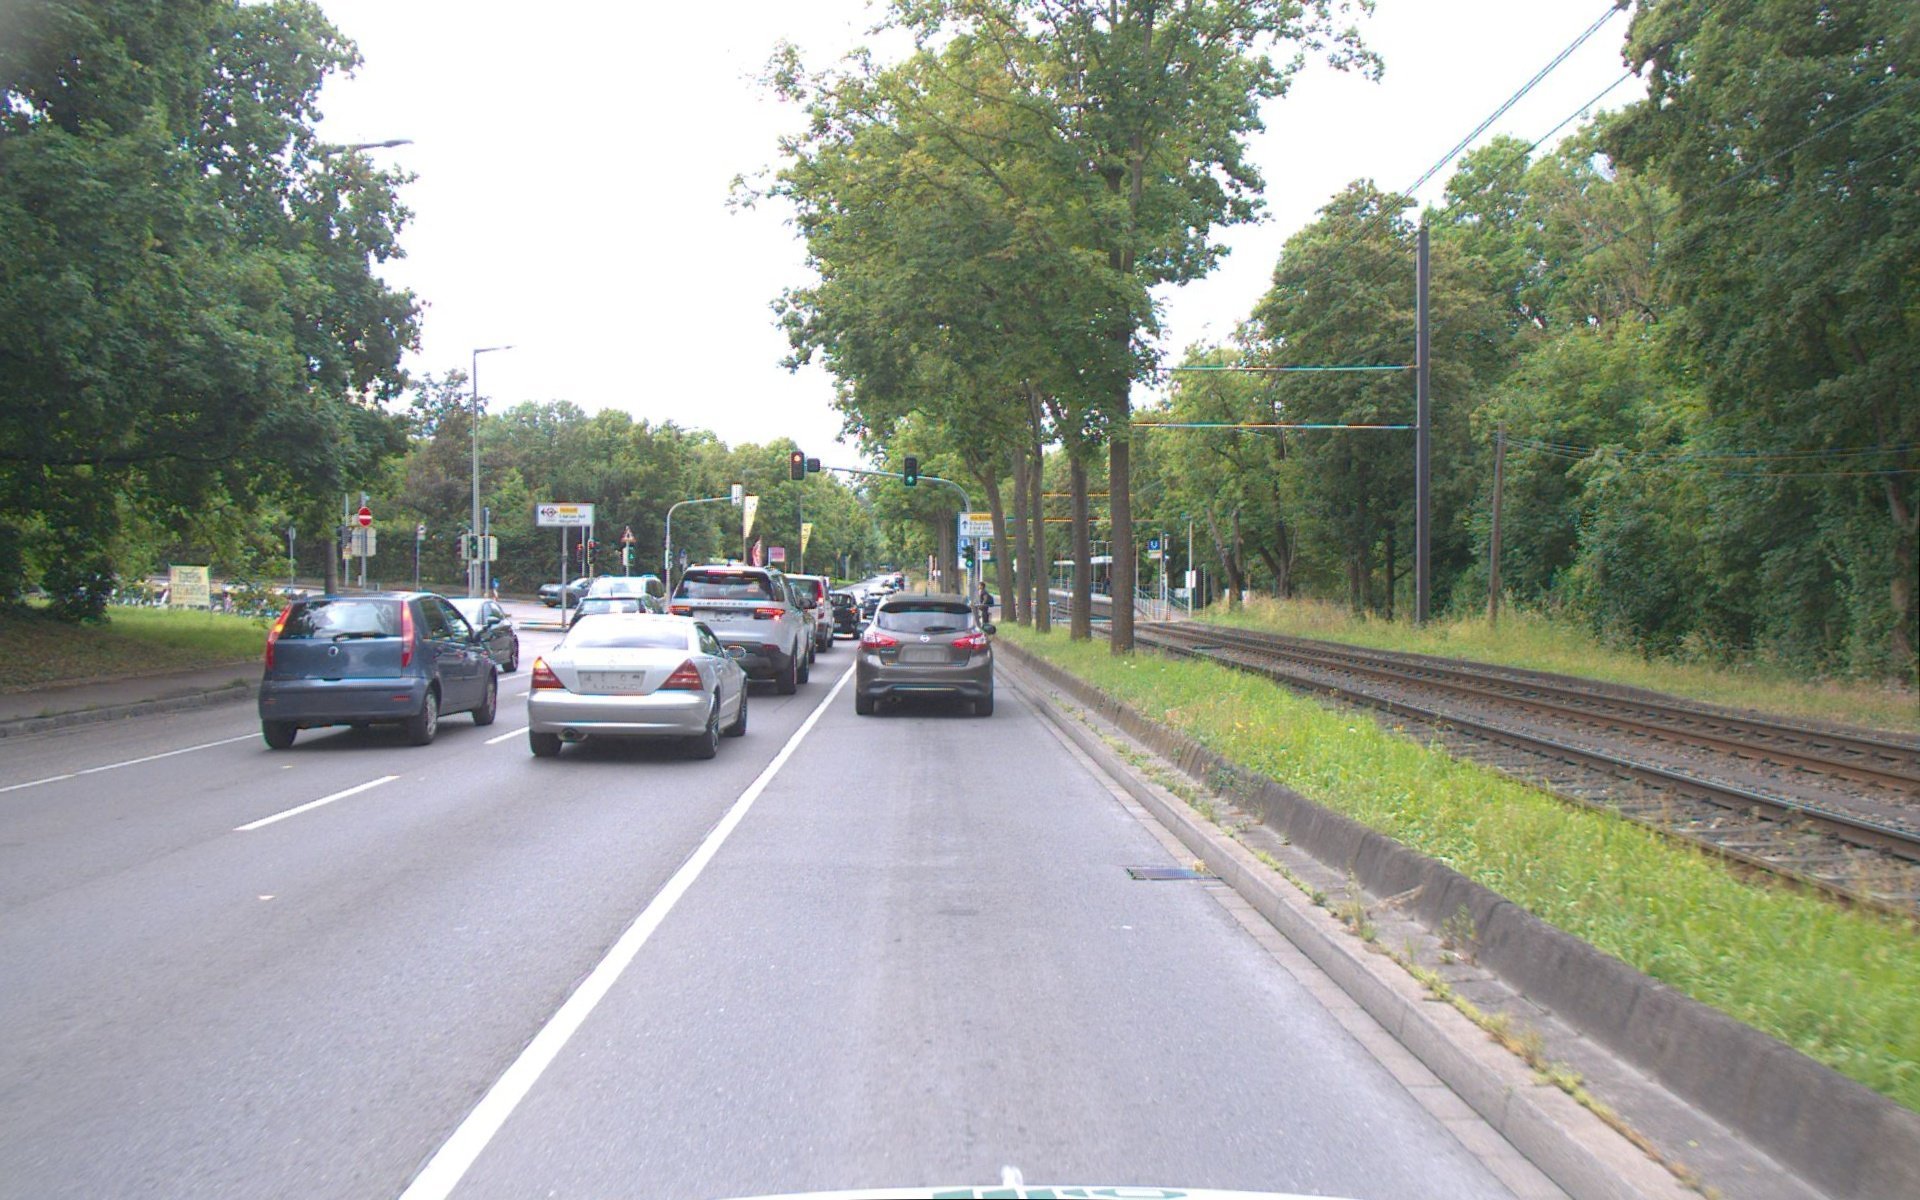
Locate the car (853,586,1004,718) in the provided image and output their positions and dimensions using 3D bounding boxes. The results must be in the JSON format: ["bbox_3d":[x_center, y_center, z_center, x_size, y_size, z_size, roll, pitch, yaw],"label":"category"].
[{"bbox_3d":[-0.382,0.625,22.026,1.800,1.555,3.929,1,0,0],"label":"car"}]

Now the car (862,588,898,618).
[{"bbox_3d":[-4.197,0.133,87.406,1.675,1.501,3.671,2,0,0],"label":"car"}]

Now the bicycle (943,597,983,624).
[{"bbox_3d":[0.126,0.440,71.397,1.642,1.109,0.601,-2,0,-6],"label":"bicycle"}]

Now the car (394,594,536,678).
[{"bbox_3d":[-9.145,0.624,30.841,1.597,1.419,3.831,1,0,-2],"label":"car"}]

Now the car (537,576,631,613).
[{"bbox_3d":[-19.652,-0.285,86.494,4.407,1.843,1.919,1,0,-43],"label":"car"}]

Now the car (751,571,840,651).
[{"bbox_3d":[-4.105,0.250,42.112,1.868,1.875,5.280,1,0,-2],"label":"car"}]

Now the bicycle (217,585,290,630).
[{"bbox_3d":[-20.720,0.224,48.550,0.535,1.274,1.928,2,0,35],"label":"bicycle"}]

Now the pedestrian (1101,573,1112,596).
[{"bbox_3d":[10.124,-1.081,114.274,0.703,1.537,0.724,2,0,1],"label":"pedestrian"}]

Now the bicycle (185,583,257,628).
[{"bbox_3d":[-22.148,0.172,49.622,0.535,1.274,1.928,2,0,35],"label":"bicycle"}]

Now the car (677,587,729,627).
[{"bbox_3d":[-10.730,0.276,69.271,1.704,1.565,3.908,2,0,-2],"label":"car"}]

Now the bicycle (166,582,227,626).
[{"bbox_3d":[-23.050,0.137,49.979,0.532,1.274,1.937,2,0,15],"label":"bicycle"}]

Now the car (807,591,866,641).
[{"bbox_3d":[-3.858,0.469,52.230,1.669,1.506,3.666,1,0,-2],"label":"car"}]

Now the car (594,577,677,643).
[{"bbox_3d":[-9.595,0.266,49.192,1.755,1.863,4.407,-1,0,-2],"label":"car"}]

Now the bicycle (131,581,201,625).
[{"bbox_3d":[-24.200,0.094,50.442,0.534,1.274,1.931,2,0,31],"label":"bicycle"}]

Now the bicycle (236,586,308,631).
[{"bbox_3d":[-20.057,0.249,48.249,0.535,1.274,1.928,2,0,35],"label":"bicycle"}]

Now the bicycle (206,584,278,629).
[{"bbox_3d":[-21.347,0.202,49.194,0.535,1.274,1.928,2,0,35],"label":"bicycle"}]

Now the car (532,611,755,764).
[{"bbox_3d":[-2.964,0.770,16.198,1.523,1.289,3.821,1,0,-2],"label":"car"}]

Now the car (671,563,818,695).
[{"bbox_3d":[-3.261,0.423,25.825,1.767,1.826,4.502,2,0,-1],"label":"car"}]

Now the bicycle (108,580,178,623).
[{"bbox_3d":[-25.064,0.061,50.768,0.534,1.274,1.931,2,0,31],"label":"bicycle"}]

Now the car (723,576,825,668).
[{"bbox_3d":[-3.744,0.431,33.869,1.716,1.748,4.333,0,0,-2],"label":"car"}]

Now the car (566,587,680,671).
[{"bbox_3d":[-6.516,0.522,32.327,1.525,1.492,3.806,-1,0,-2],"label":"car"}]

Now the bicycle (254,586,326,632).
[{"bbox_3d":[-19.425,0.273,47.975,0.535,1.274,1.928,2,0,35],"label":"bicycle"}]

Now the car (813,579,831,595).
[{"bbox_3d":[-15.038,-1.372,180.242,1.864,1.708,5.077,1,0,-4],"label":"car"}]

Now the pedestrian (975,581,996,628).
[{"bbox_3d":[0.969,0.172,62.535,0.736,1.768,0.840,-2,0,3],"label":"pedestrian"}]

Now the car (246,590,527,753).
[{"bbox_3d":[-5.866,0.660,17.396,1.559,1.493,3.929,-1,0,0],"label":"car"}]

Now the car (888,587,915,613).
[{"bbox_3d":[-3.683,0.009,104.602,1.472,1.555,3.671,2,0,0],"label":"car"}]
